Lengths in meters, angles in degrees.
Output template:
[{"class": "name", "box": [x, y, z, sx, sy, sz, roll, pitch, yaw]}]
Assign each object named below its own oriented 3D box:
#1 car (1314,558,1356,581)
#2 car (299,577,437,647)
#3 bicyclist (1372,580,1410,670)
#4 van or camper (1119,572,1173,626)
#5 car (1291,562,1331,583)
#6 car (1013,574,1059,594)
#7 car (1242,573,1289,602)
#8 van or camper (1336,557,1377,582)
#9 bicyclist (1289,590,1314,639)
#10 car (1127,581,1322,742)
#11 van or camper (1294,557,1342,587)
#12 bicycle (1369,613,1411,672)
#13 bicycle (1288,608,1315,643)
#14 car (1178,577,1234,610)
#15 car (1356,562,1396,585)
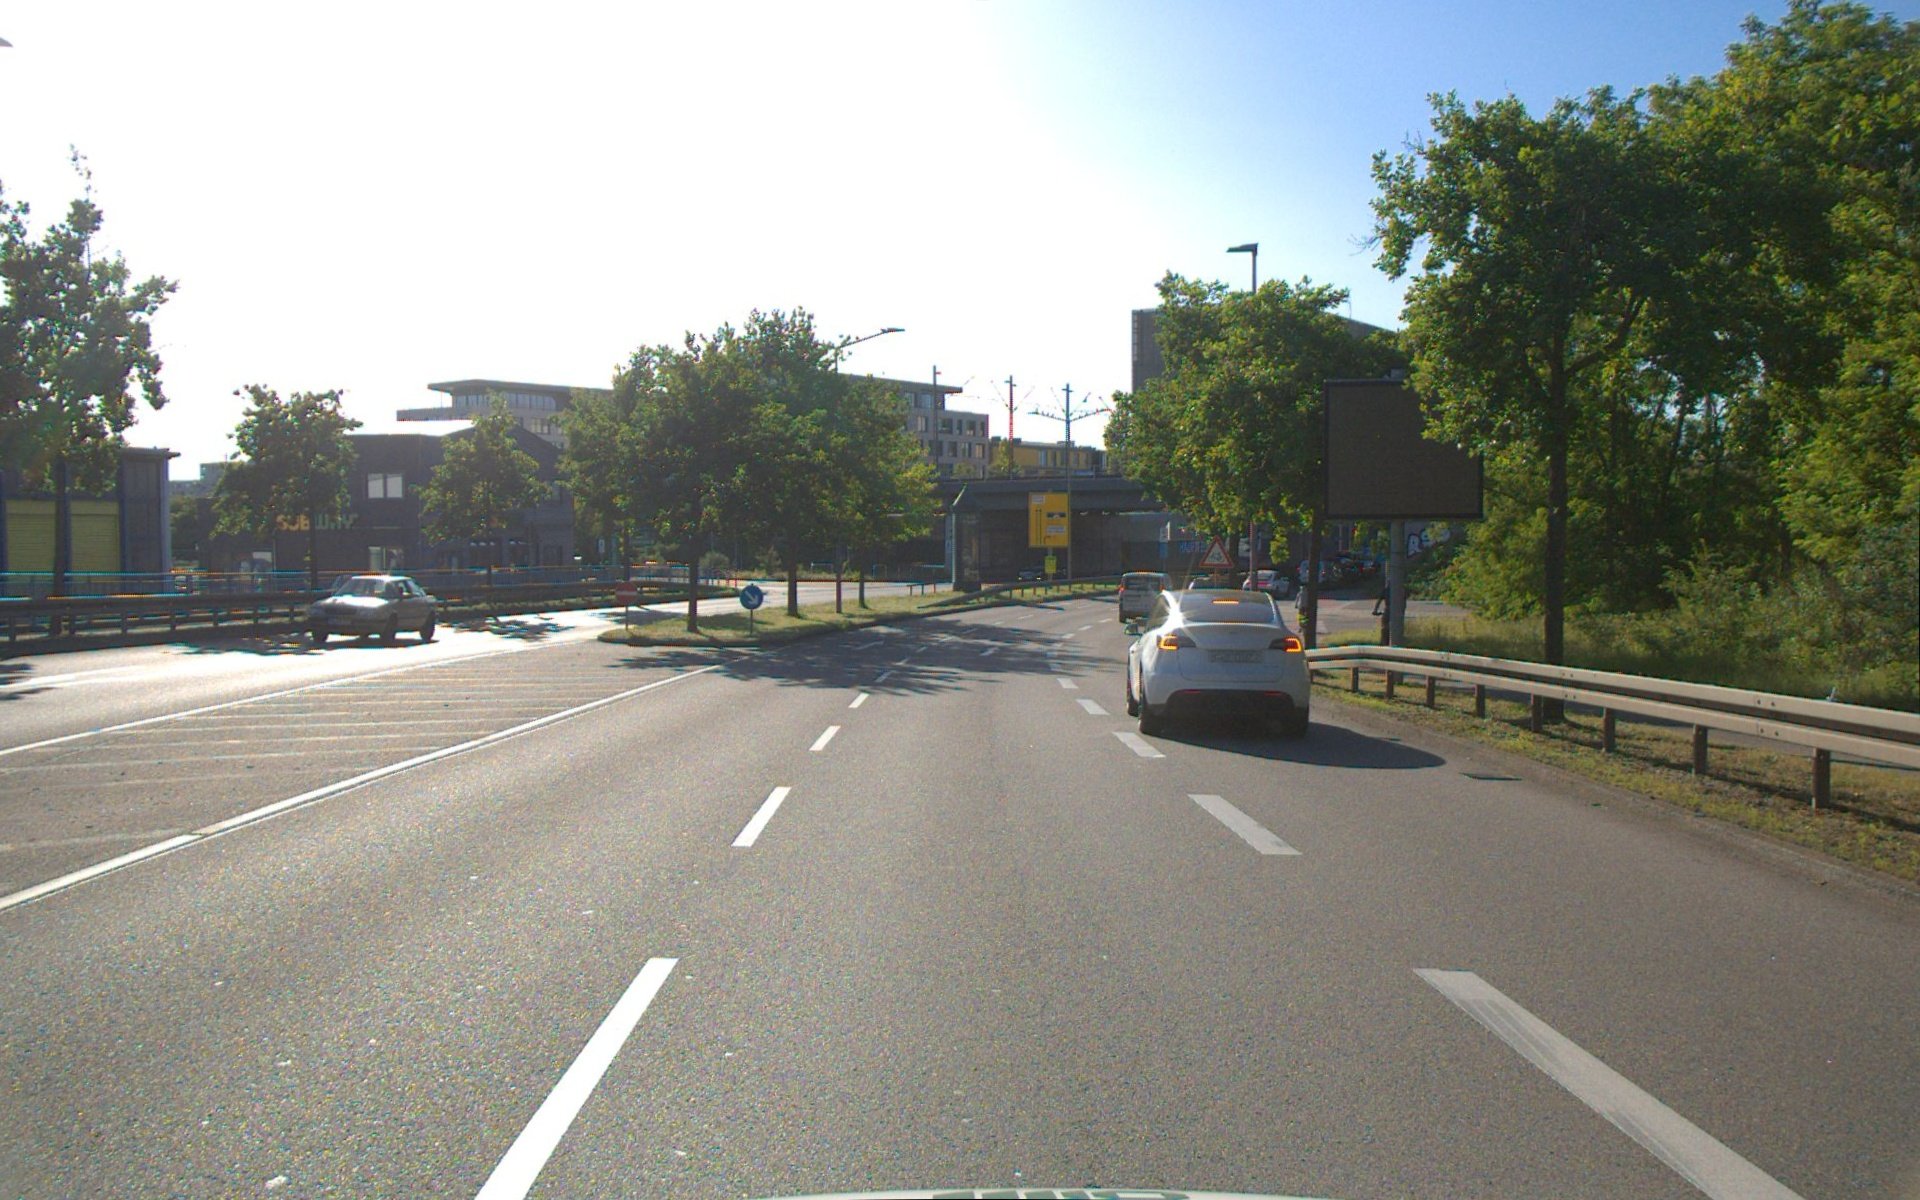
[{"class": "car", "box": [26.570, -2.180, 117.130, 1.678, 1.549, 3.733, 2, 2, 33]}, {"class": "car", "box": [-12.861, 0.227, 36.221, 1.696, 1.409, 4.492, 1, 0, -5]}, {"class": "bicyclist", "box": [8.837, 0.505, 33.945, 0.661, 1.807, 0.949, -1, 0, 11]}, {"class": "van or camper", "box": [7.281, -0.086, 64.453, 1.916, 1.916, 4.885, 1, 2, 8]}, {"class": "car", "box": [26.007, -2.070, 122.611, 1.678, 1.477, 3.733, 2, 2, 33]}, {"class": "car", "box": [5.232, -1.098, 113.186, 1.763, 1.333, 4.616, 2, 1, 21]}, {"class": "car", "box": [17.006, -0.737, 92.011, 1.727, 1.501, 4.289, 1, 2, 22]}, {"class": "van or camper", "box": [29.582, -2.293, 123.258, 1.724, 1.845, 3.947, 2, 2, 34]}, {"class": "bicyclist", "box": [11.937, 0.500, 57.833, 0.730, 1.647, 0.913, -1, 0, 16]}, {"class": "car", "box": [3.028, 0.689, 19.766, 1.874, 1.669, 4.412, 1, -1, 4]}, {"class": "van or camper", "box": [22.764, -1.798, 105.026, 1.791, 1.822, 4.538, 2, 2, 28]}, {"class": "bicycle", "box": [8.882, 0.864, 34.220, 0.680, 1.114, 2.120, -1, 1, 11]}, {"class": "bicycle", "box": [11.970, 0.884, 57.962, 0.727, 1.131, 2.453, -1, 1, 16]}, {"class": "car", "box": [12.041, -0.343, 80.832, 1.573, 1.459, 3.675, 2, 3, 27]}, {"class": "car", "box": [29.548, -1.904, 117.456, 1.678, 1.549, 3.733, 2, 2, 33]}]
